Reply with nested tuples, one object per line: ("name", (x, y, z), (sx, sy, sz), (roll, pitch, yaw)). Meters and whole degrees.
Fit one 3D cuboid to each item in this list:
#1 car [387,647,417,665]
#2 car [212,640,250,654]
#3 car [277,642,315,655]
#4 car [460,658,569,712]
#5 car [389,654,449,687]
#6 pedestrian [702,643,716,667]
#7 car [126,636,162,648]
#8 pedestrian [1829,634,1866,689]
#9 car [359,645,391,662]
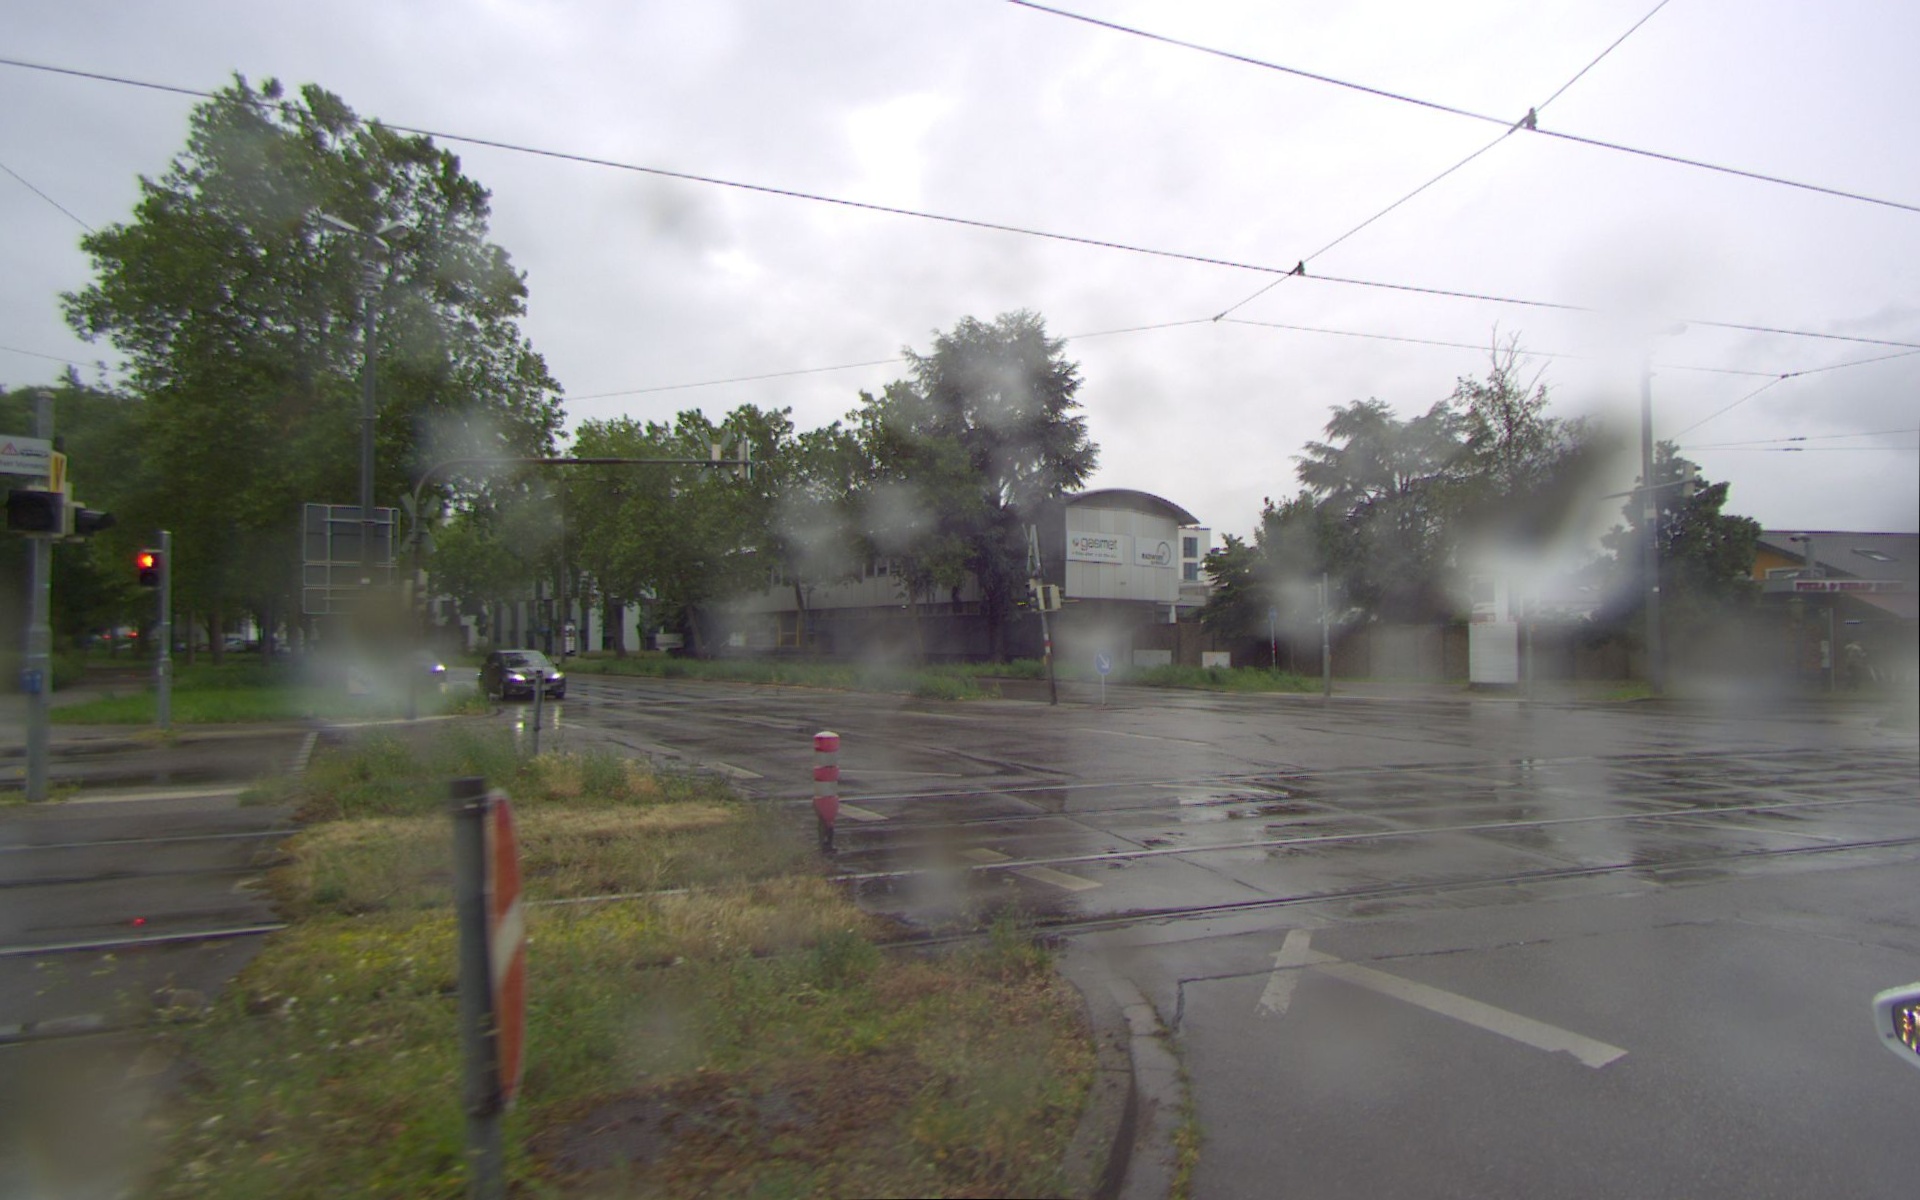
("car", (-61.249, 6.170, 110.247), (1.987, 1.806, 3.948), (2, -2, -44))
("car", (-104.523, 6.699, 144.017), (1.962, 1.855, 3.996), (0, -1, 26))
("car", (-88.987, 6.527, 134.657), (1.856, 1.673, 3.869), (0, -2, 34))
("car", (-13.504, 2.513, 30.317), (1.791, 1.420, 4.261), (0, -2, -42))
("car", (-24.804, 3.230, 45.974), (1.788, 1.425, 4.415), (2, -4, -37))
("pedestrian", (-18.249, 3.966, 73.012), (0.669, 1.690, 0.814), (2, -1, -45))
("car", (-129.799, 6.693, 159.817), (1.964, 1.844, 3.994), (0, -1, 29))
("pedestrian", (30.614, 2.100, 34.656), (0.713, 1.821, 0.886), (0, 0, 26))
("car", (-66.808, 6.134, 114.673), (3.941, 1.806, 1.990), (0, -2, 41))
